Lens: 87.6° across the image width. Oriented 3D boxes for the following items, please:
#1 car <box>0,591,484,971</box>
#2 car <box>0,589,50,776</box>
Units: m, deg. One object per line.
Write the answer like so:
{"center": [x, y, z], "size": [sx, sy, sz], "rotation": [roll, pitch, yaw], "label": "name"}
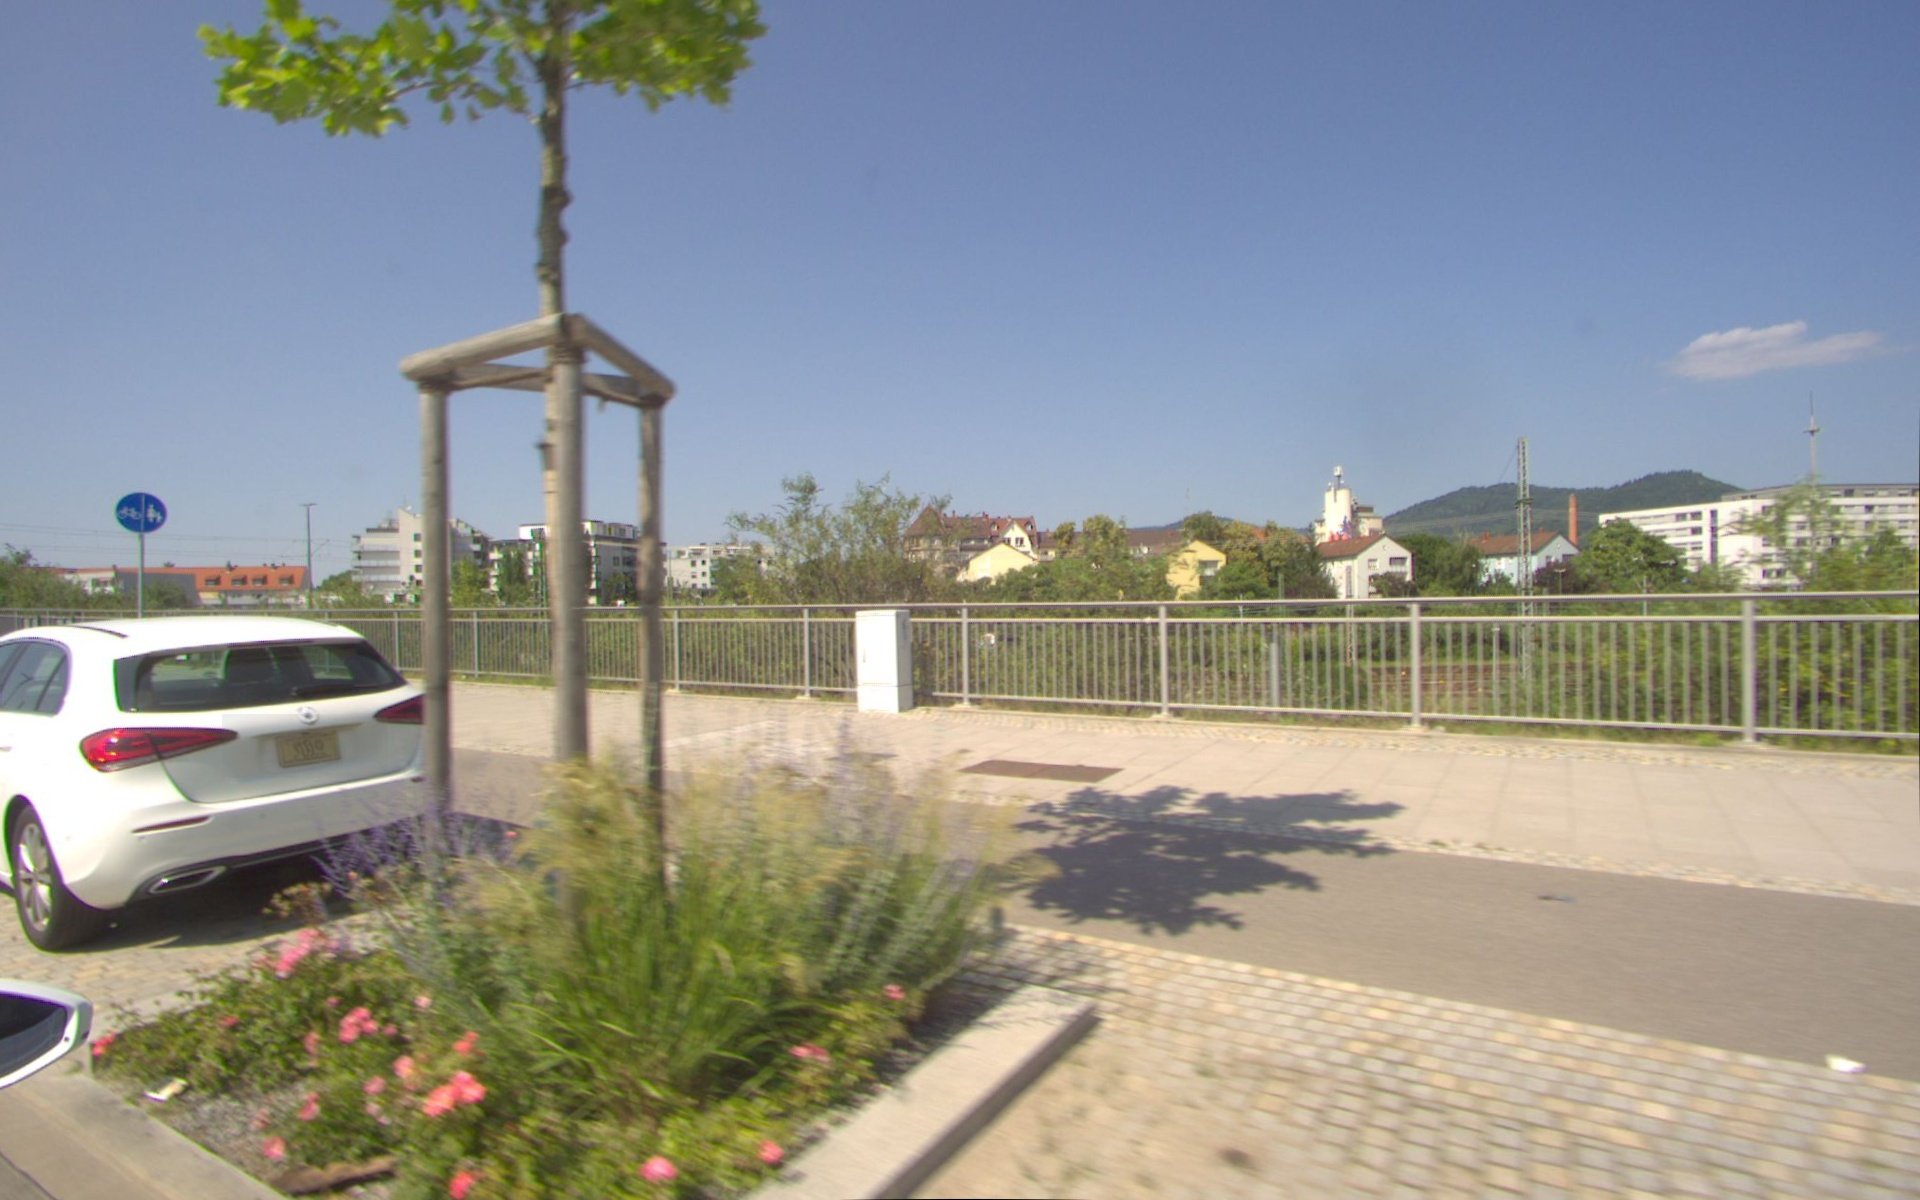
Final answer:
{"center": [-4.797, 0.754, 5.847], "size": [4.146, 1.495, 1.692], "rotation": [-1, 1, 33], "label": "car"}
{"center": [-10.232, 0.757, 9.260], "size": [3.560, 1.639, 1.817], "rotation": [0, 2, 33], "label": "car"}
